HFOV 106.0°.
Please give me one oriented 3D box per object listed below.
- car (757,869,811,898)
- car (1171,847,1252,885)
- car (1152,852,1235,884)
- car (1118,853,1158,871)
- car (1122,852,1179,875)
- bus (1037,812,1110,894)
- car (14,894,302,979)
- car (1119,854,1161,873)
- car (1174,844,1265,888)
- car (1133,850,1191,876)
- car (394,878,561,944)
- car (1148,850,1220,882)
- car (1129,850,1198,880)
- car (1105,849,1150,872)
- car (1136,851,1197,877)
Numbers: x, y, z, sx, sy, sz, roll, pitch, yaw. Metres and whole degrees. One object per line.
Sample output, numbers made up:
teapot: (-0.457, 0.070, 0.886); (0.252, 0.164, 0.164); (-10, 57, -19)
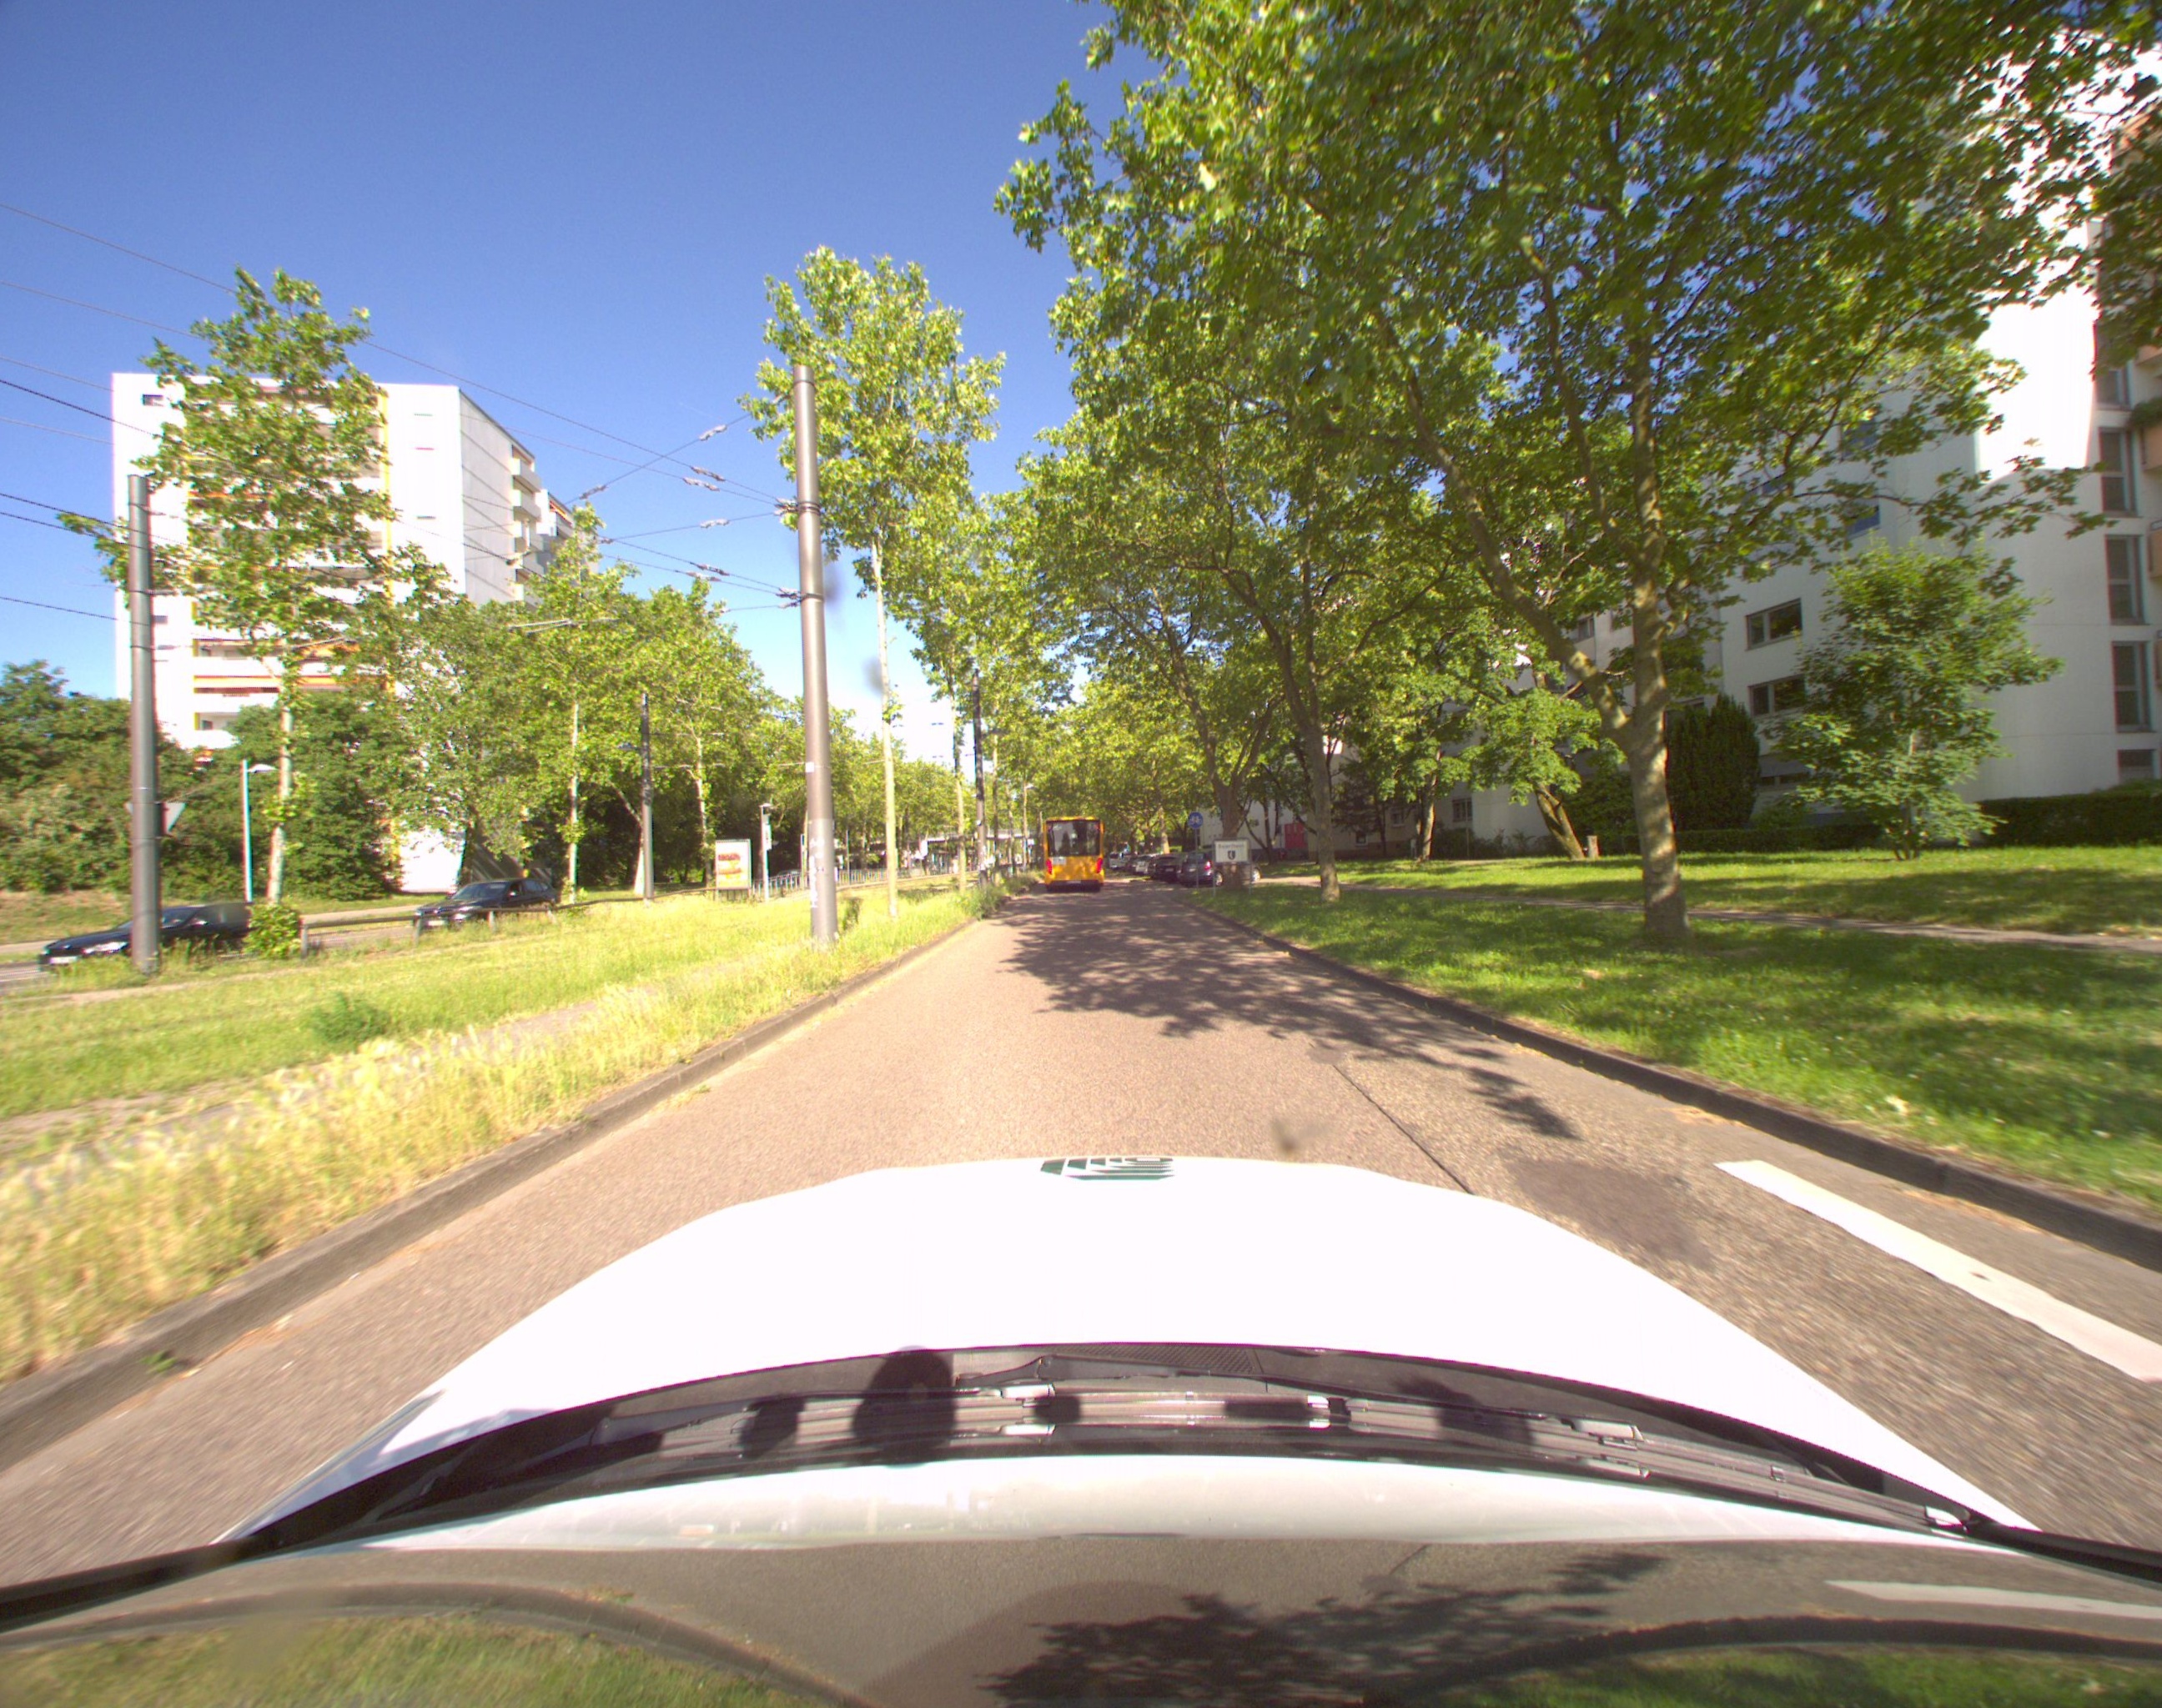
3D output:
car: (-18.810, 1.850, 51.721); (1.788, 1.608, 4.266); (-3, 0, 0)
car: (6.093, 0.548, 37.839); (3.604, 1.492, 1.778); (-4, 0, -43)
car: (5.682, 0.673, 40.904); (4.170, 1.318, 1.778); (-4, 0, -41)
car: (5.944, 0.834, 85.338); (4.082, 1.580, 1.810); (-4, -1, -44)
car: (5.372, 0.706, 62.734); (1.777, 1.422, 4.618); (-4, 0, 44)
bus: (-0.444, 0.012, 39.947); (2.892, 3.267, 12.209); (-2, -1, -1)
car: (-21.166, 1.810, 19.011); (1.788, 1.510, 4.266); (-3, 0, 0)
car: (5.743, 0.909, 79.090); (1.777, 1.510, 4.239); (-5, -1, 42)
car: (5.904, 0.489, 34.564); (3.747, 1.592, 1.778); (-4, 0, -42)
car: (5.771, 0.601, 58.098); (4.022, 1.576, 1.778); (-4, 0, -41)
car: (-17.860, 1.613, 24.385); (1.789, 1.616, 4.232); (-3, 0, 0)
car: (5.644, 0.624, 44.392); (3.911, 1.445, 1.777); (-4, 0, -45)
car: (4.912, 0.633, 47.999); (1.777, 1.510, 4.204); (-4, 0, 42)
car: (5.087, 0.697, 88.633); (4.615, 2.052, 1.993); (-4, -1, -41)
car: (5.777, 0.668, 54.587); (4.022, 1.444, 1.778); (-4, 0, -42)
